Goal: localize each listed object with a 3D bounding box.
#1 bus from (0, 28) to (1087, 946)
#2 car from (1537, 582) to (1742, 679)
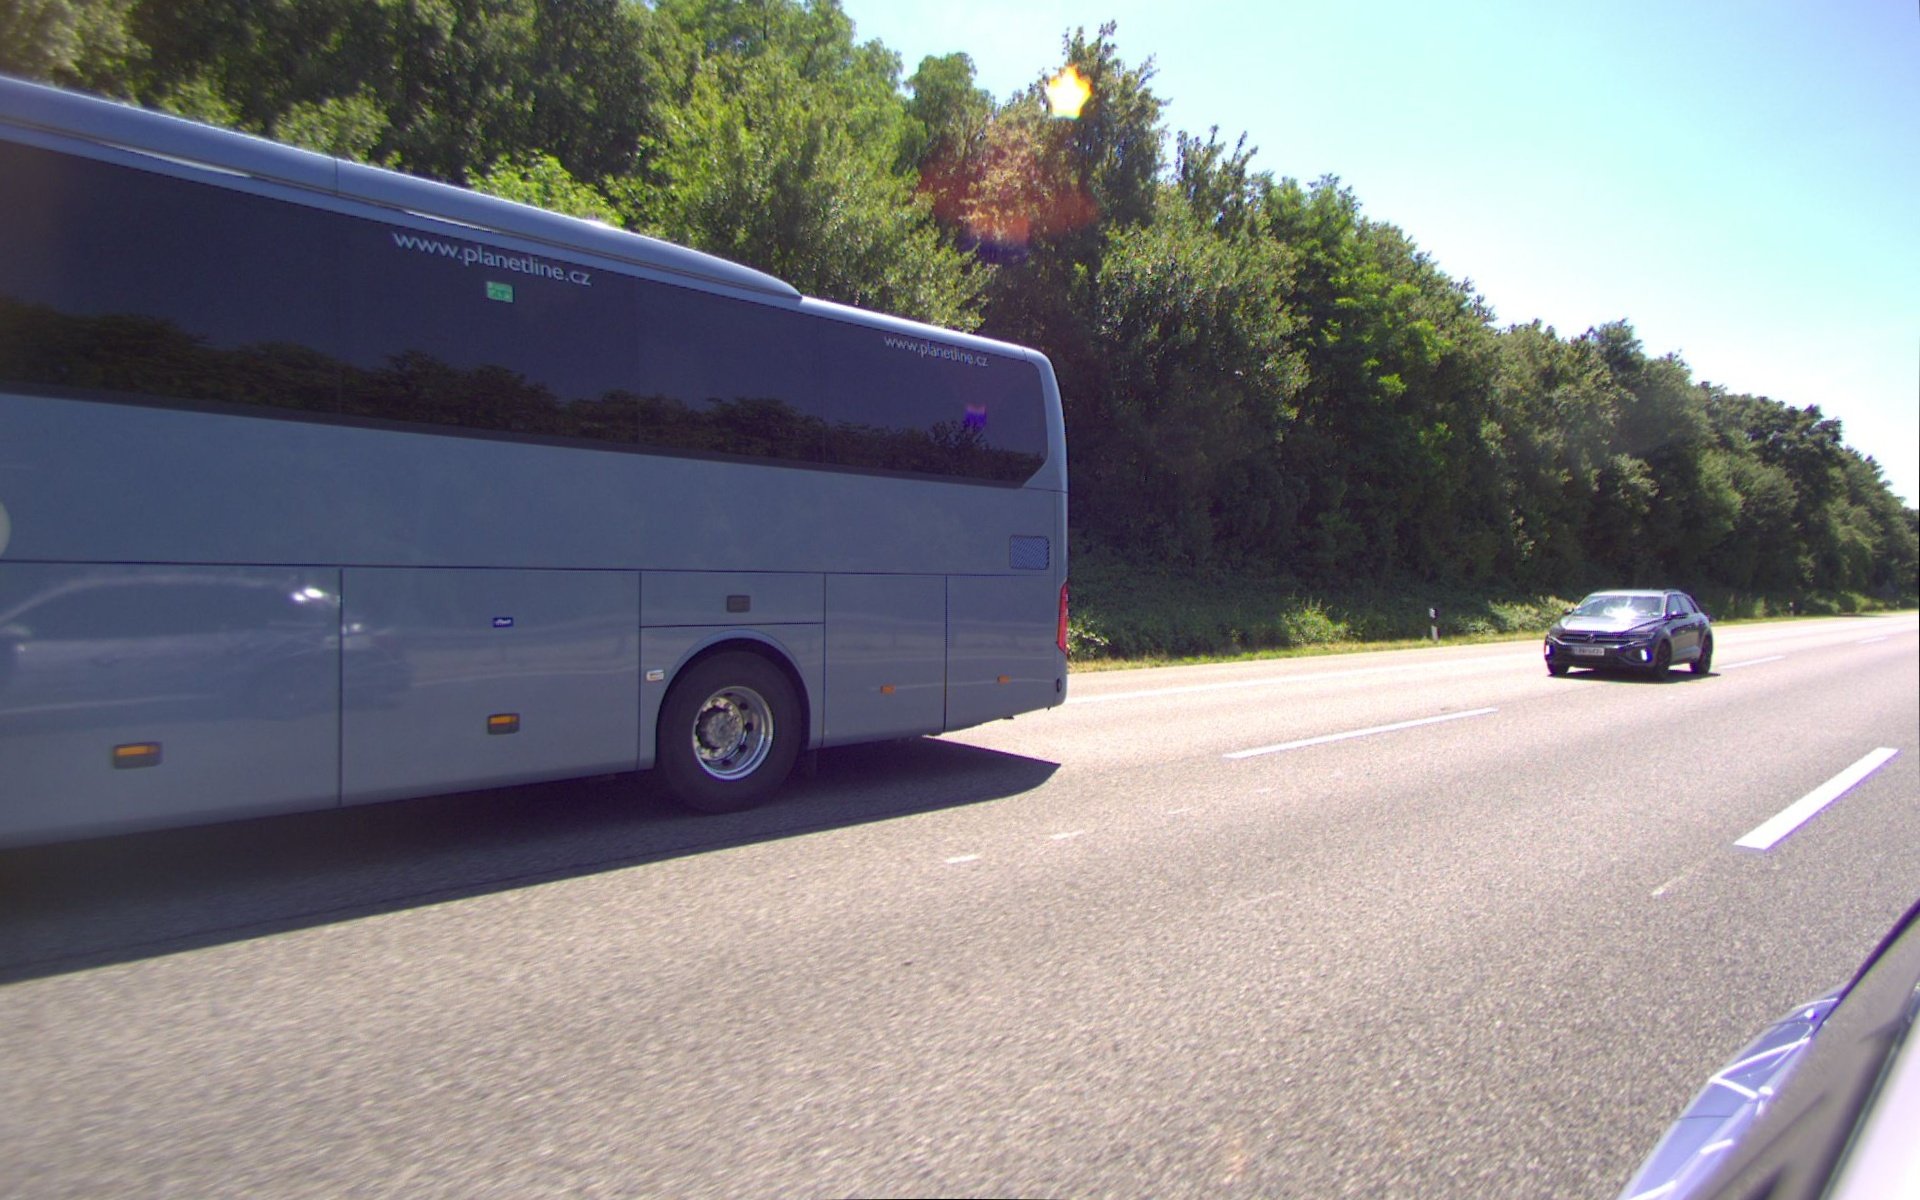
[{"bbox_3d":[-4.428,-0.471,5.350,12.260,3.641,2.806,-1,1,-42],"label":"bus"},{"bbox_3d":[12.547,0.471,18.575,4.675,1.551,1.903,0,1,-40],"label":"car"}]
